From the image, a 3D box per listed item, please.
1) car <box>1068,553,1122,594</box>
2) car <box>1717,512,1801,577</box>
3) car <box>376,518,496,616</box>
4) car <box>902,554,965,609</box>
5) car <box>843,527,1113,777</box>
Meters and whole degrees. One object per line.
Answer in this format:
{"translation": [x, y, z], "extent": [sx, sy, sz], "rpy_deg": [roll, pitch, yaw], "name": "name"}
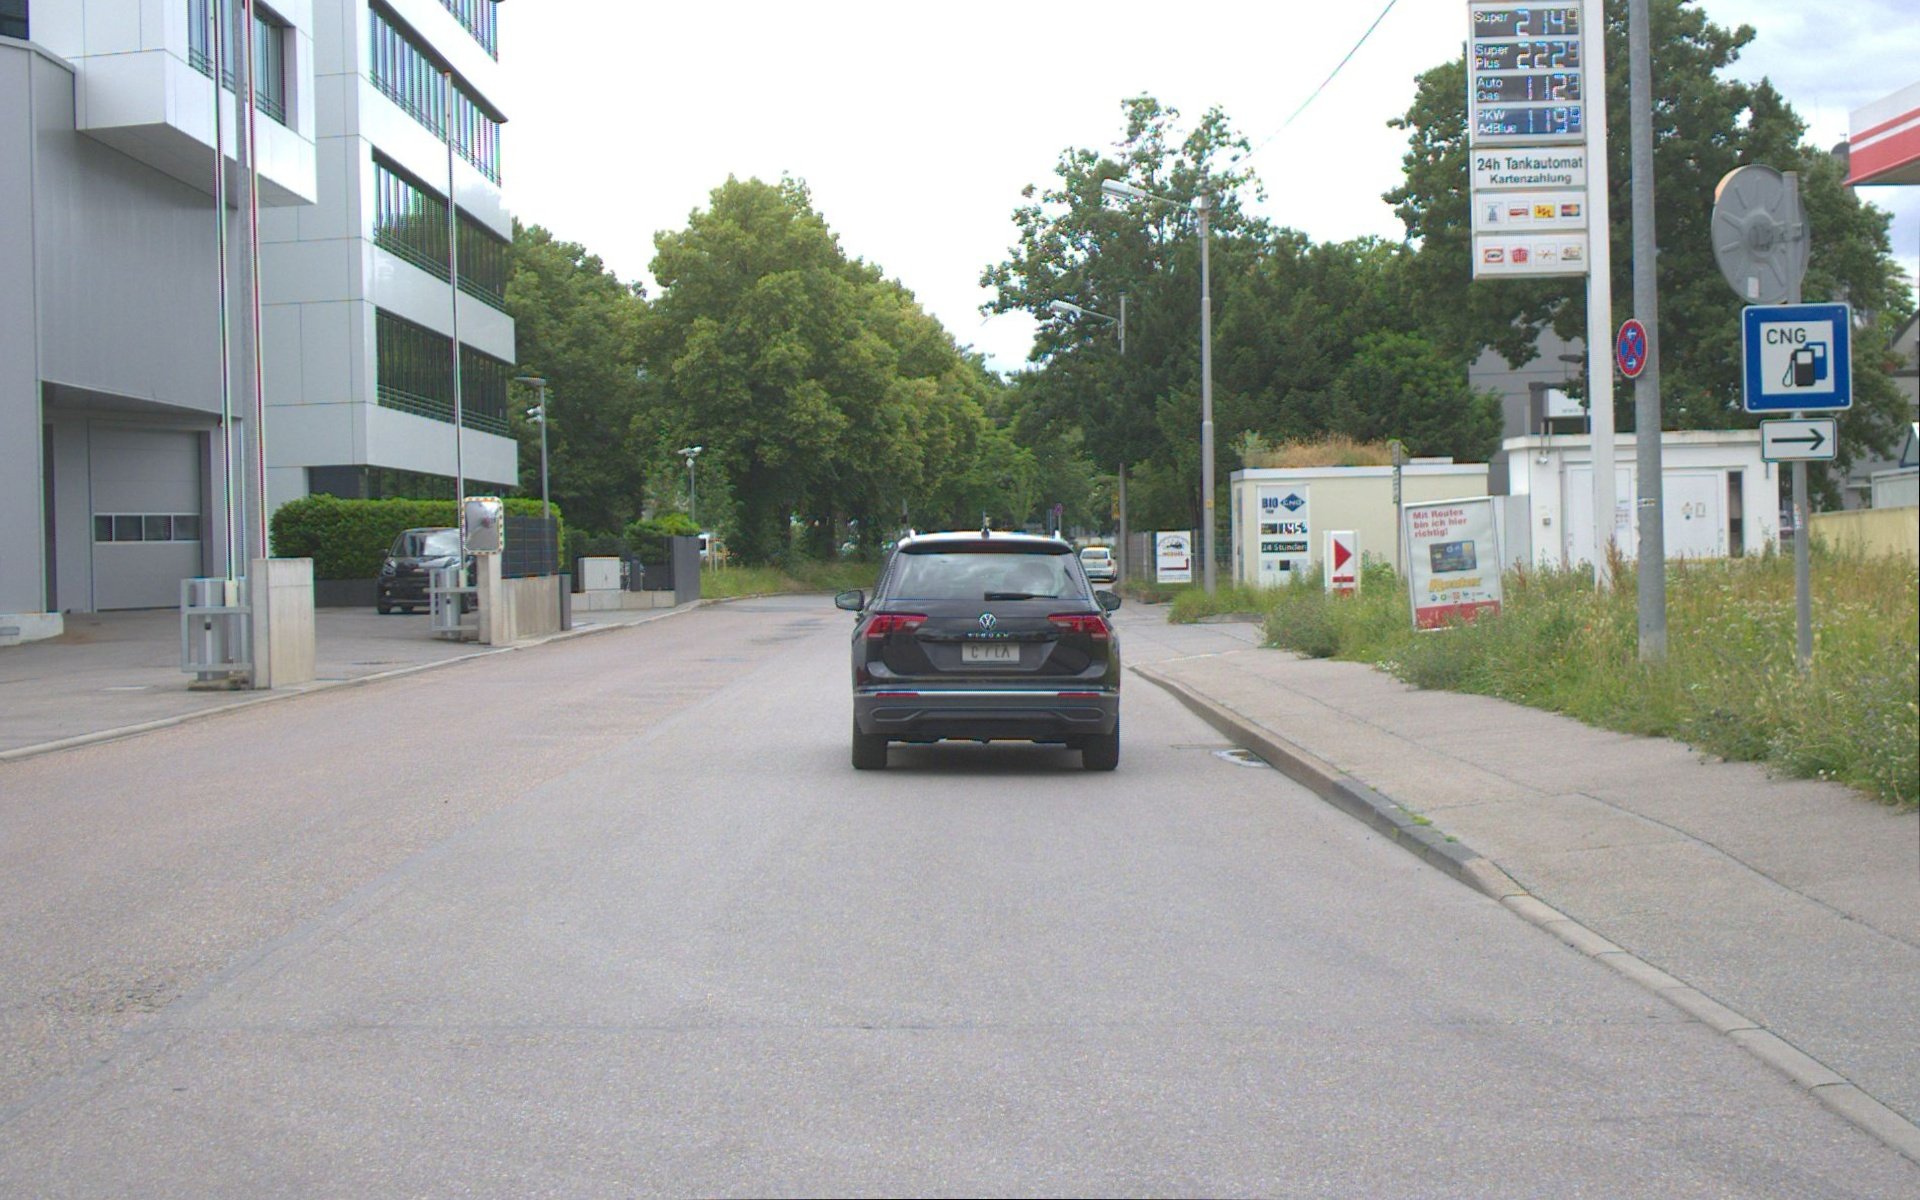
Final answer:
{"translation": [6.010, -1.175, 152.142], "extent": [1.994, 1.780, 3.999], "rpy_deg": [0, 1, 8], "name": "car"}
{"translation": [21.887, -1.545, 94.109], "extent": [1.995, 1.606, 4.439], "rpy_deg": [-2, 1, 16], "name": "car"}
{"translation": [-9.589, -0.608, 63.038], "extent": [1.650, 1.756, 3.179], "rpy_deg": [0, 1, 1], "name": "car"}
{"translation": [-0.806, -0.579, 104.630], "extent": [1.839, 1.611, 4.000], "rpy_deg": [-1, 1, 0], "name": "car"}
{"translation": [0.178, 0.325, 24.046], "extent": [1.739, 1.612, 3.641], "rpy_deg": [0, 0, 2], "name": "car"}
